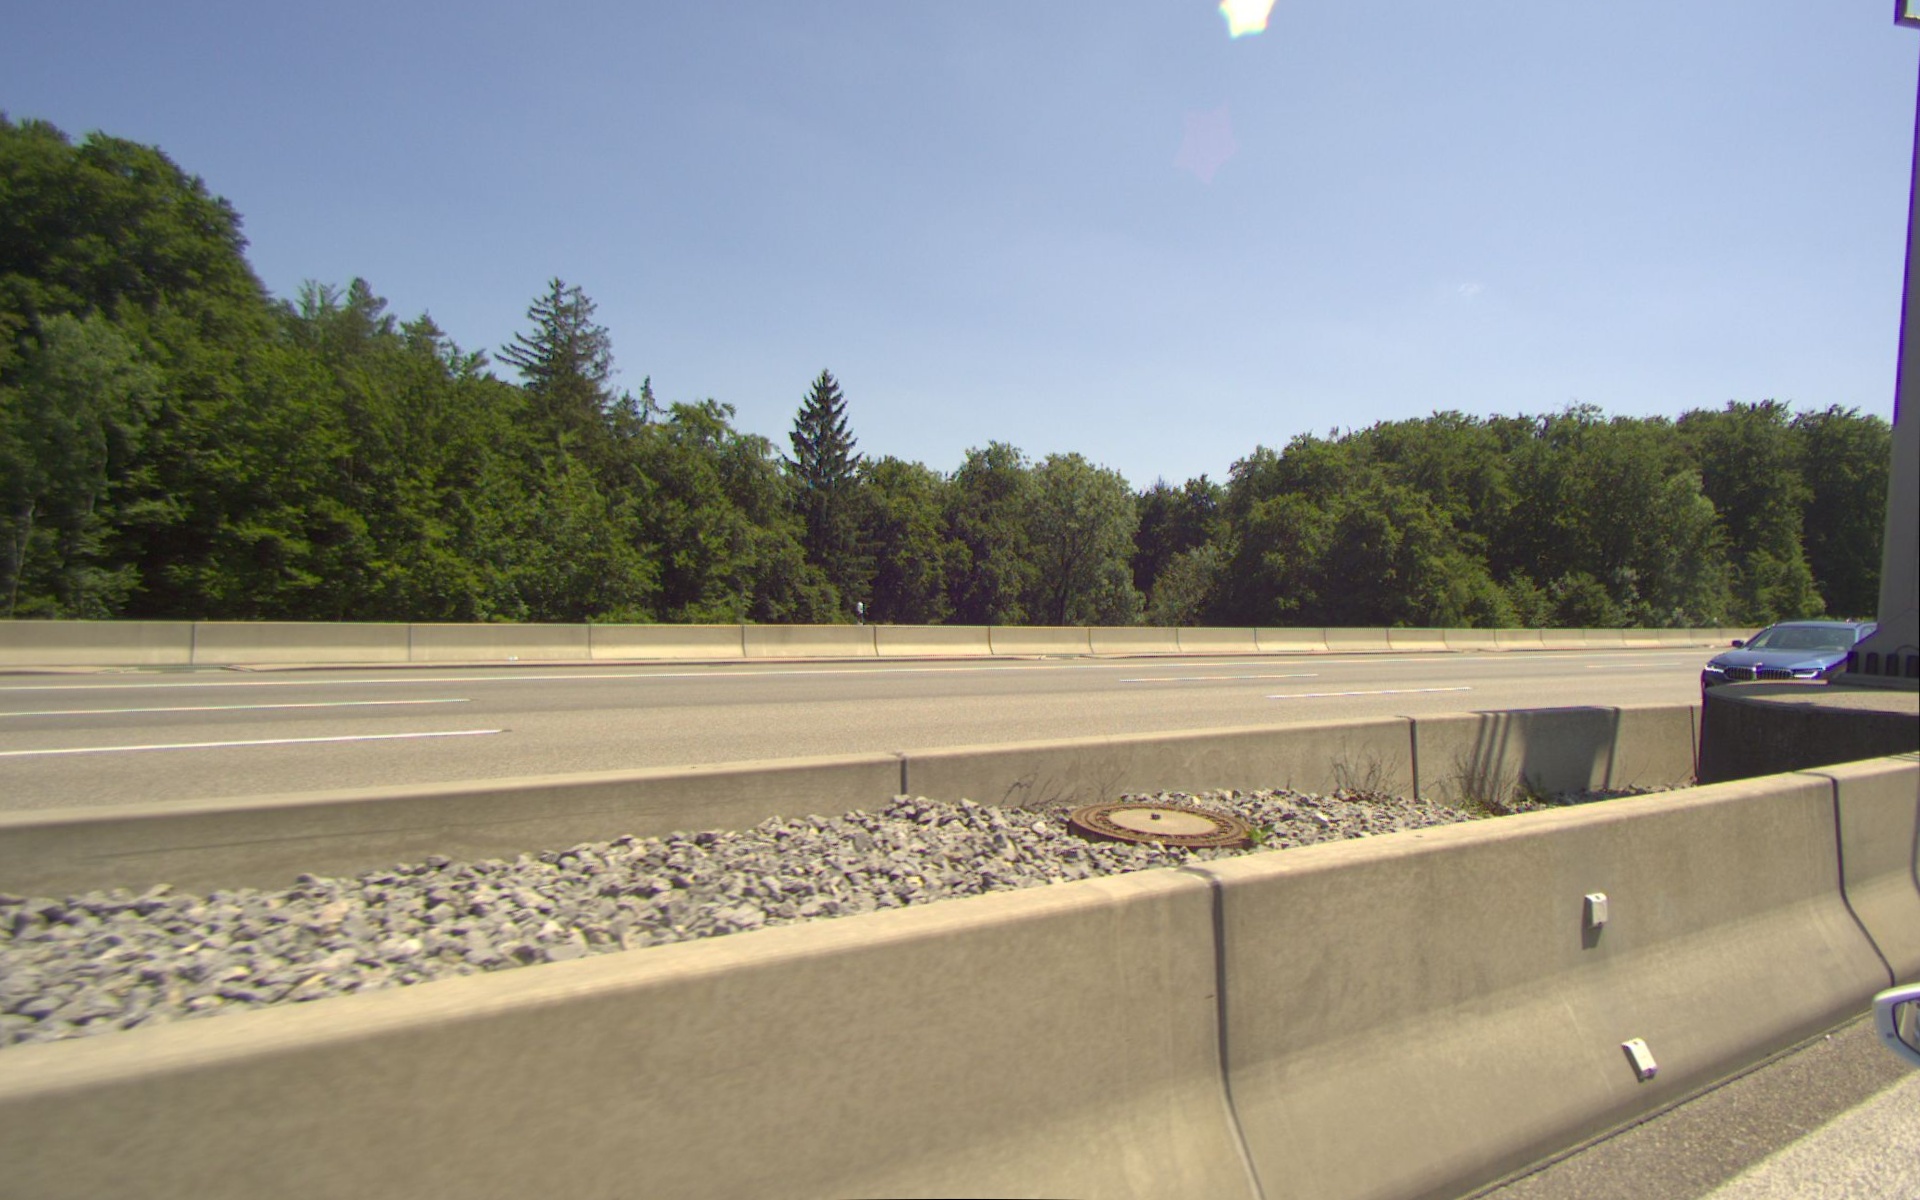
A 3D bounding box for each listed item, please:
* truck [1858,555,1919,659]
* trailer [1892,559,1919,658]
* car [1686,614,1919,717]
[{"bbox_3d":[41.590,0.369,42.563,5.815,4.233,3.764,2,1,-33],"label":"truck"},{"bbox_3d":[48.937,0.584,47.316,14.319,4.337,3.813,2,1,-33],"label":"trailer"},{"bbox_3d":[14.548,1.052,17.173,4.470,1.538,1.844,1,0,-31],"label":"car"}]
